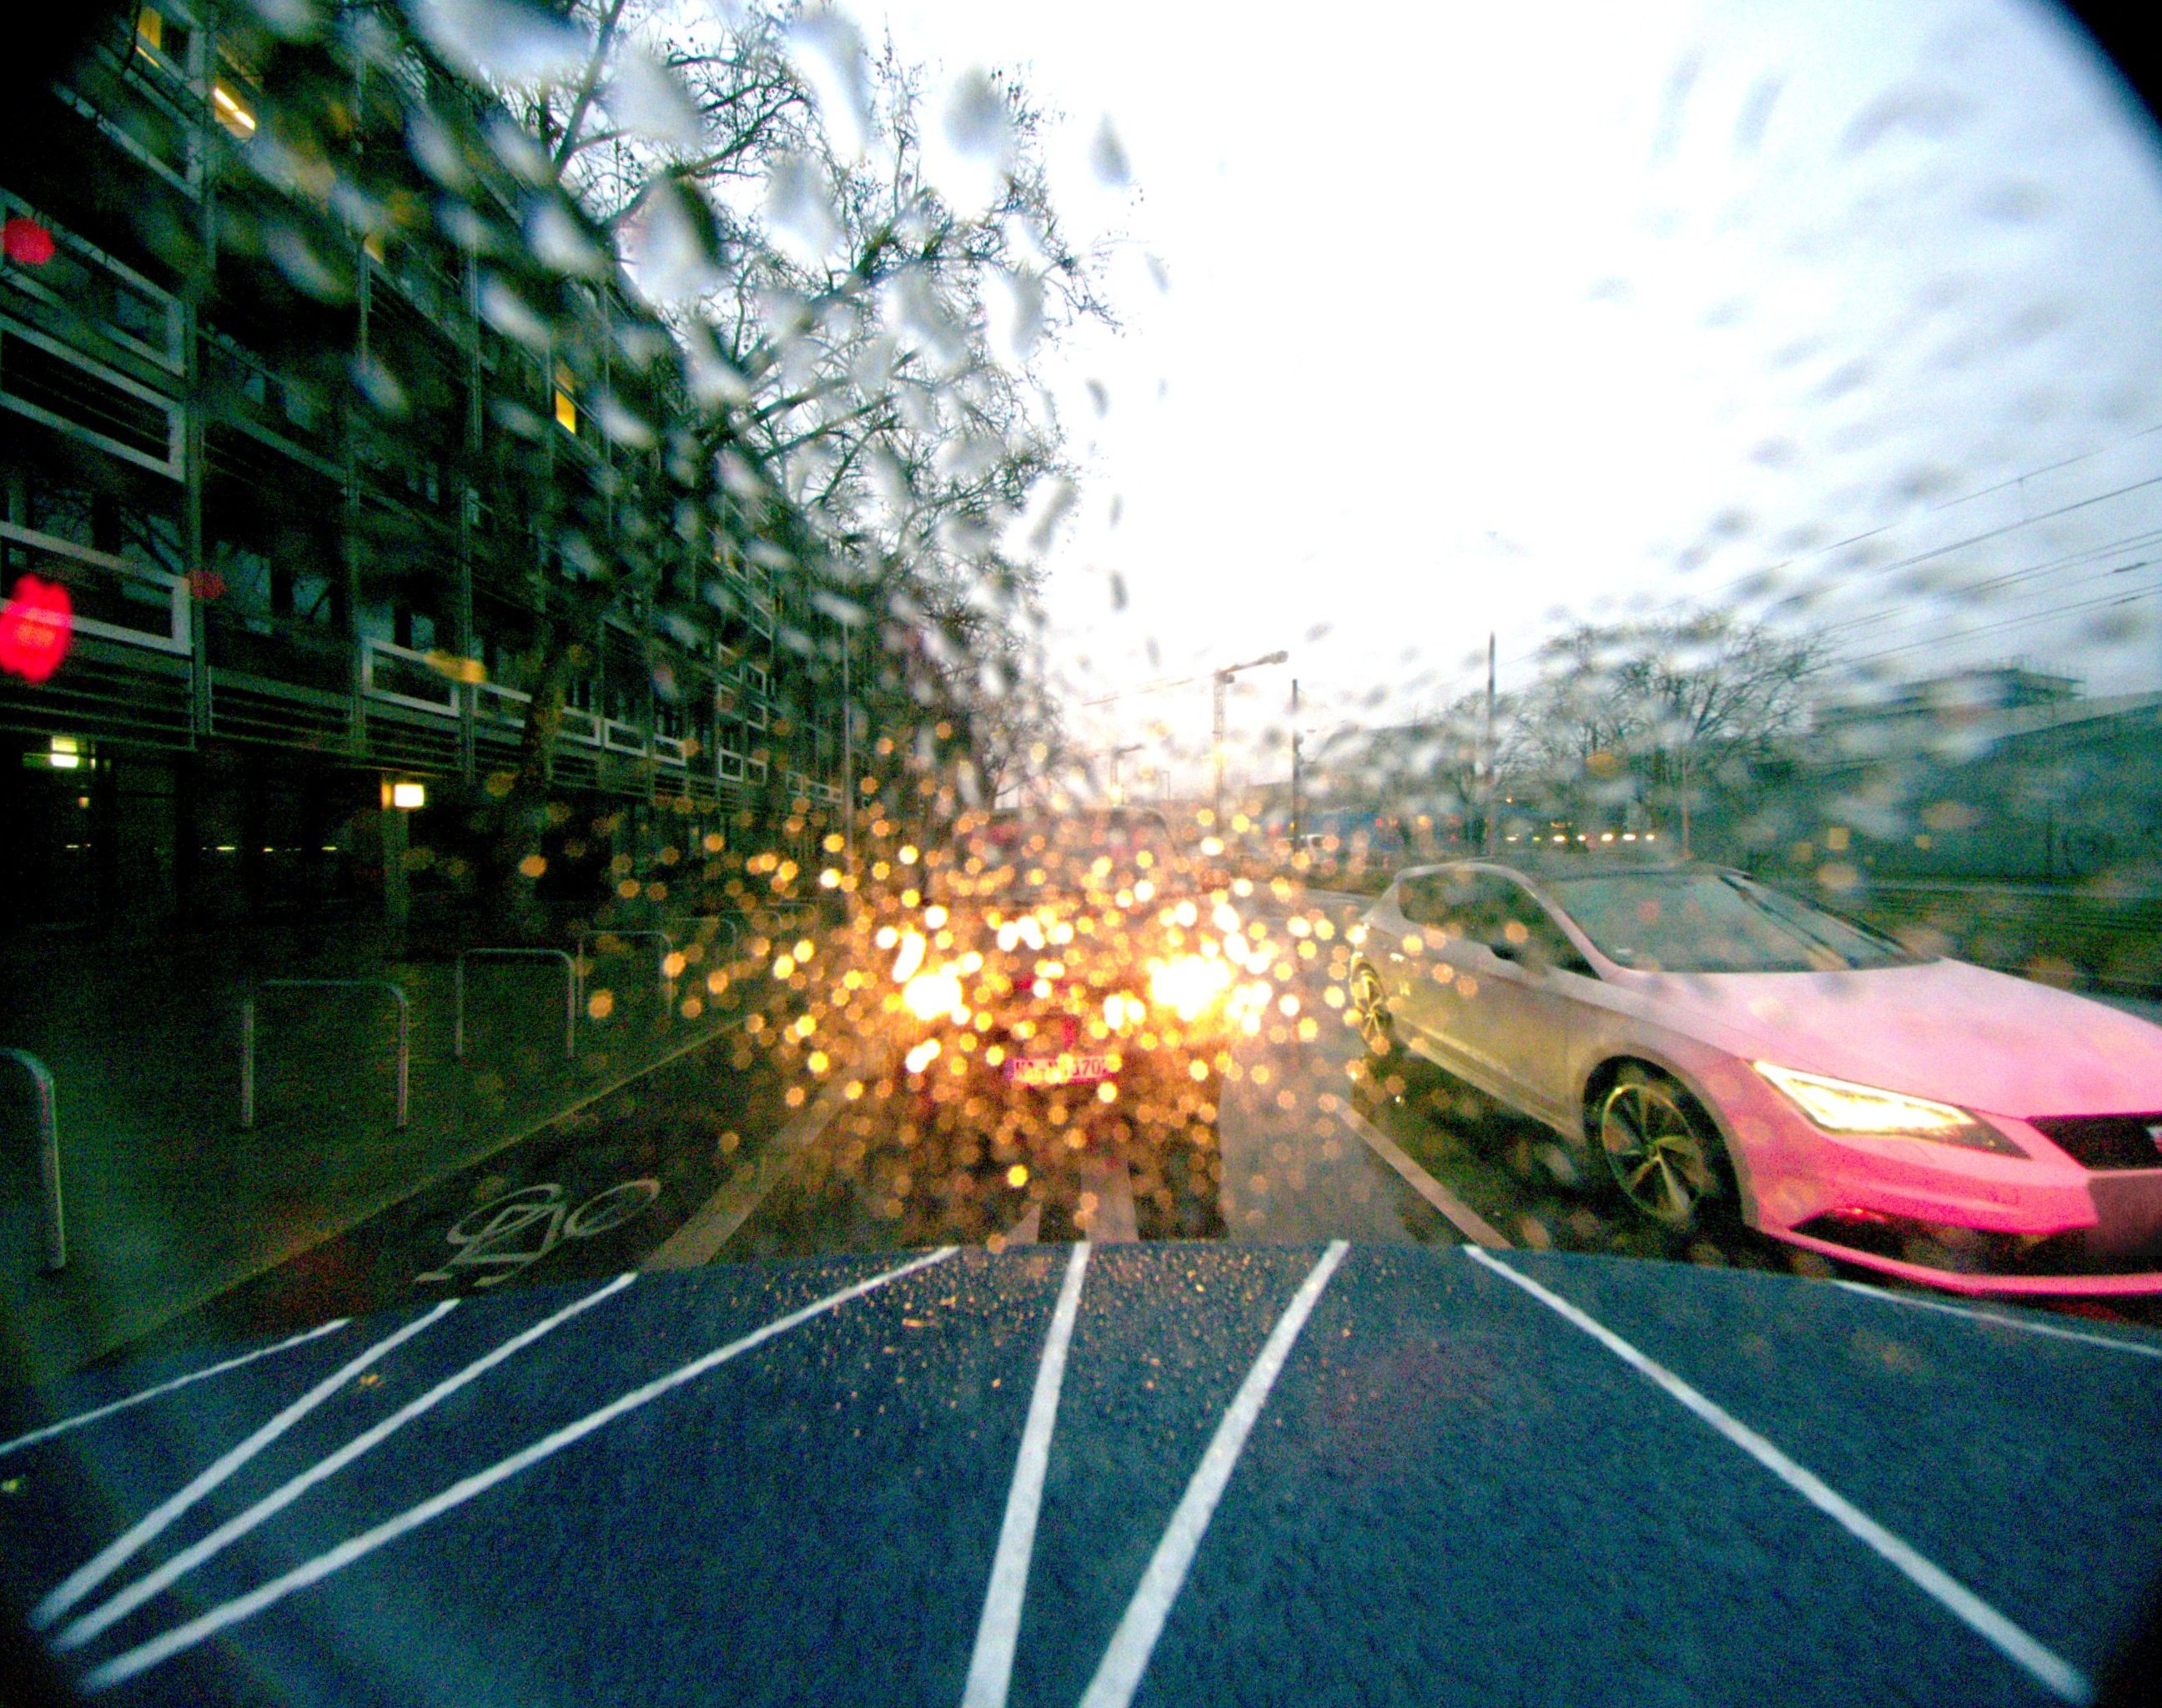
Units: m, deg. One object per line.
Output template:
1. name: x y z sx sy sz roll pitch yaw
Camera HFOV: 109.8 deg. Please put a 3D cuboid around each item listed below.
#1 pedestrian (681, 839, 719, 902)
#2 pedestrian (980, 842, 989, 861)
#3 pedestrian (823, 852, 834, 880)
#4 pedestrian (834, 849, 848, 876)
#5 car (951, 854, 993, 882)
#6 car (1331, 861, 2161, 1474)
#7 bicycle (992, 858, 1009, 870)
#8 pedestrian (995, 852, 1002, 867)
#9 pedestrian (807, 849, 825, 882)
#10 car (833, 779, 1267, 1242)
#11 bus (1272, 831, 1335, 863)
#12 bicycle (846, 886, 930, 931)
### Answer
1. pedestrian: -12.231 0.517 24.405 0.822 2.002 0.735 -1 1 -2
2. pedestrian: -10.418 -0.281 82.094 0.791 2.002 1.024 -1 1 0
3. pedestrian: -12.795 0.607 38.563 0.494 1.361 0.501 -1 1 -18
4. pedestrian: -14.831 0.534 46.908 0.641 1.645 0.842 -1 1 -8
5. car: -6.179 0.788 43.360 1.608 1.424 3.930 2 1 2
6. car: 2.964 0.820 4.025 1.778 1.466 4.128 0 1 -2
7. bicycle: -7.238 0.913 68.281 1.523 1.030 0.469 -2 1 -7
8. pedestrian: -11.003 0.699 101.394 0.838 2.002 0.771 -2 2 -1
9. pedestrian: -13.442 0.558 38.615 0.617 1.647 0.780 -1 1 1
10. car: -0.105 0.676 5.309 1.858 2.002 4.000 -1 1 1
11. bus: 26.044 -0.800 89.819 2.815 3.557 12.298 -1 0 -6
12. bicycle: -4.458 1.249 17.592 1.792 0.968 0.617 1 1 -4
